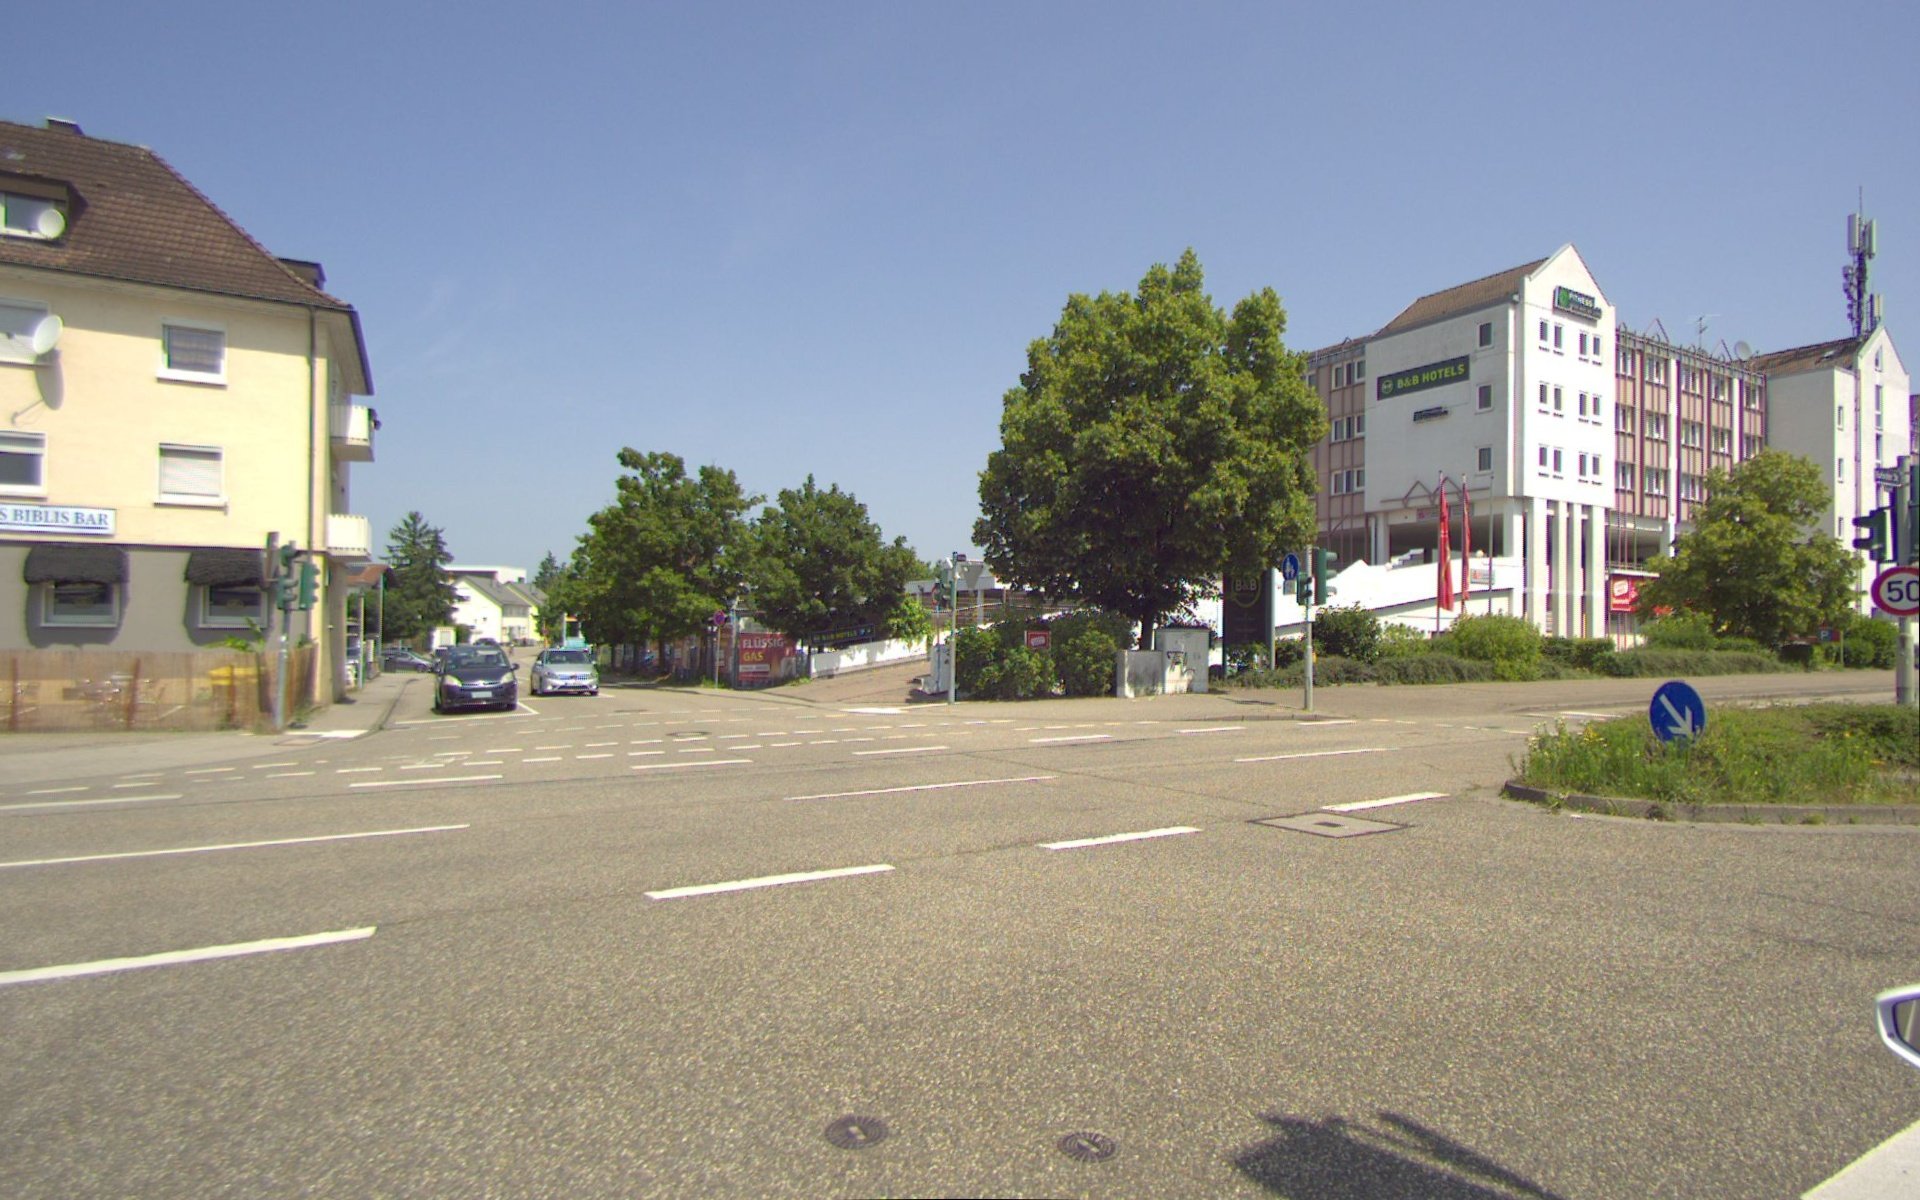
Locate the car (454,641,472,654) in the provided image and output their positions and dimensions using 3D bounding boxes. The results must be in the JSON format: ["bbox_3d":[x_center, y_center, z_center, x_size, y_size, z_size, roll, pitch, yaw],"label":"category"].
[{"bbox_3d":[-53.606,5.121,108.393,1.603,1.376,3.263,1,-2,-29],"label":"car"}]

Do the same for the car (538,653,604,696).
[{"bbox_3d":[-12.976,2.425,33.405,1.843,1.249,3.977,1,-2,-24],"label":"car"}]

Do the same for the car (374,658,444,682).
[{"bbox_3d":[-39.331,4.993,71.817,3.930,1.639,1.996,1,-2,-12],"label":"car"}]

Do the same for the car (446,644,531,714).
[{"bbox_3d":[-12.237,1.980,26.214,1.843,1.633,3.977,1,-2,-24],"label":"car"}]

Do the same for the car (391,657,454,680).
[{"bbox_3d":[-40.421,5.126,75.655,3.941,1.618,1.990,1,-2,-22],"label":"car"}]
